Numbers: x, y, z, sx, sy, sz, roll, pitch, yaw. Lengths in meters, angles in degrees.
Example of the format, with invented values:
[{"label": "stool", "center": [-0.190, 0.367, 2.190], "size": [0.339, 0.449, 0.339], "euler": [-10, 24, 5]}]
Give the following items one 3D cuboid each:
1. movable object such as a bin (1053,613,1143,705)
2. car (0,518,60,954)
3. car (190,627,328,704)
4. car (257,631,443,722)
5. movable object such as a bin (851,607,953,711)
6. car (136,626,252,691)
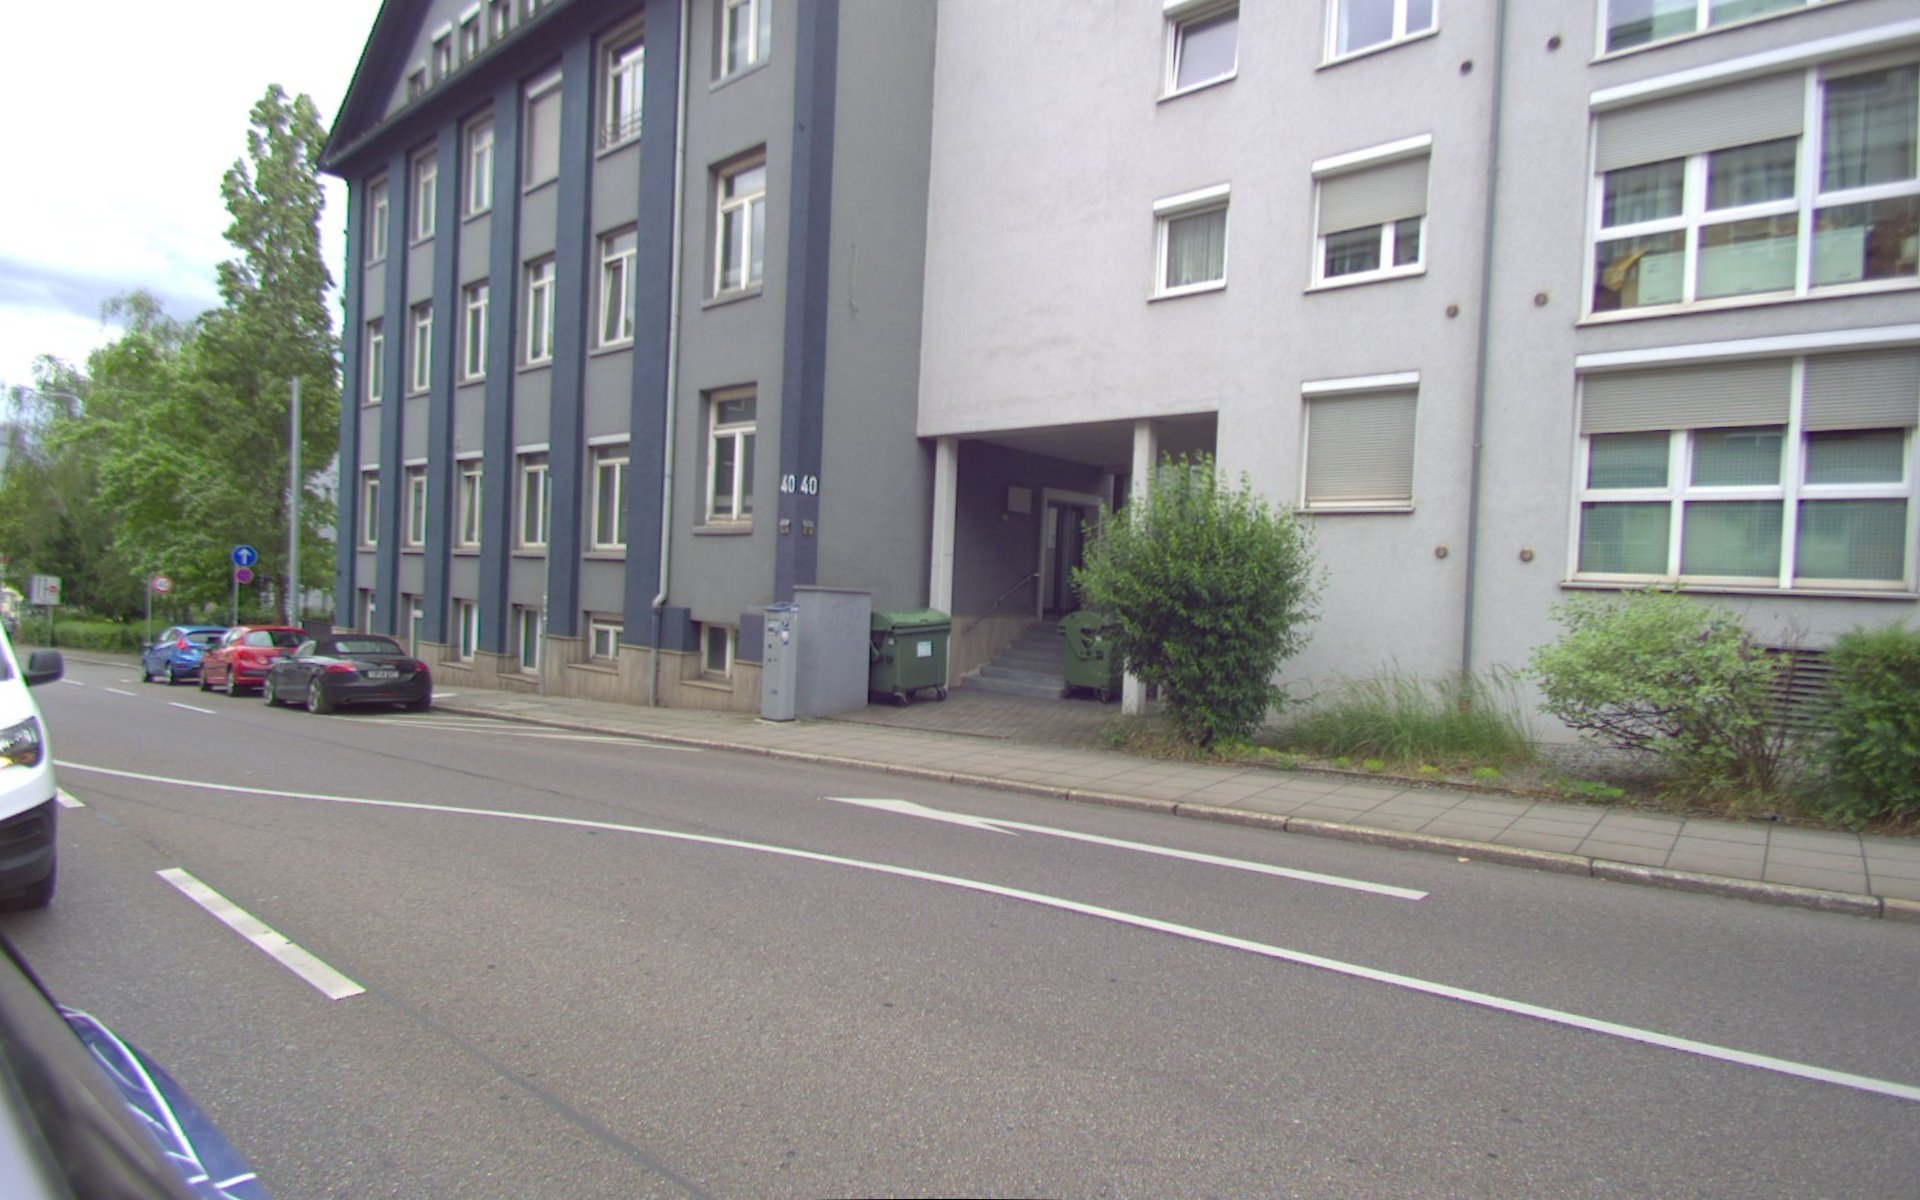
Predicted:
[{"label": "movable object such as a bin", "center": [2.256, 0.931, 16.547], "size": [1.078, 1.427, 1.026], "euler": [-1, 0, 41]}, {"label": "car", "center": [-6.123, 0.618, 5.230], "size": [3.998, 1.901, 1.716], "euler": [-1, 0, 41]}, {"label": "car", "center": [-15.332, 1.361, 22.063], "size": [3.727, 1.460, 1.623], "euler": [-1, 0, 41]}, {"label": "car", "center": [-10.939, 1.278, 18.062], "size": [3.727, 1.403, 1.778], "euler": [-1, -2, 41]}, {"label": "movable object such as a bin", "center": [-0.898, 0.884, 15.743], "size": [1.039, 1.518, 1.213], "euler": [-1, 0, 41]}, {"label": "car", "center": [-19.456, 1.416, 25.664], "size": [3.727, 1.460, 1.623], "euler": [-1, 0, 41]}]
